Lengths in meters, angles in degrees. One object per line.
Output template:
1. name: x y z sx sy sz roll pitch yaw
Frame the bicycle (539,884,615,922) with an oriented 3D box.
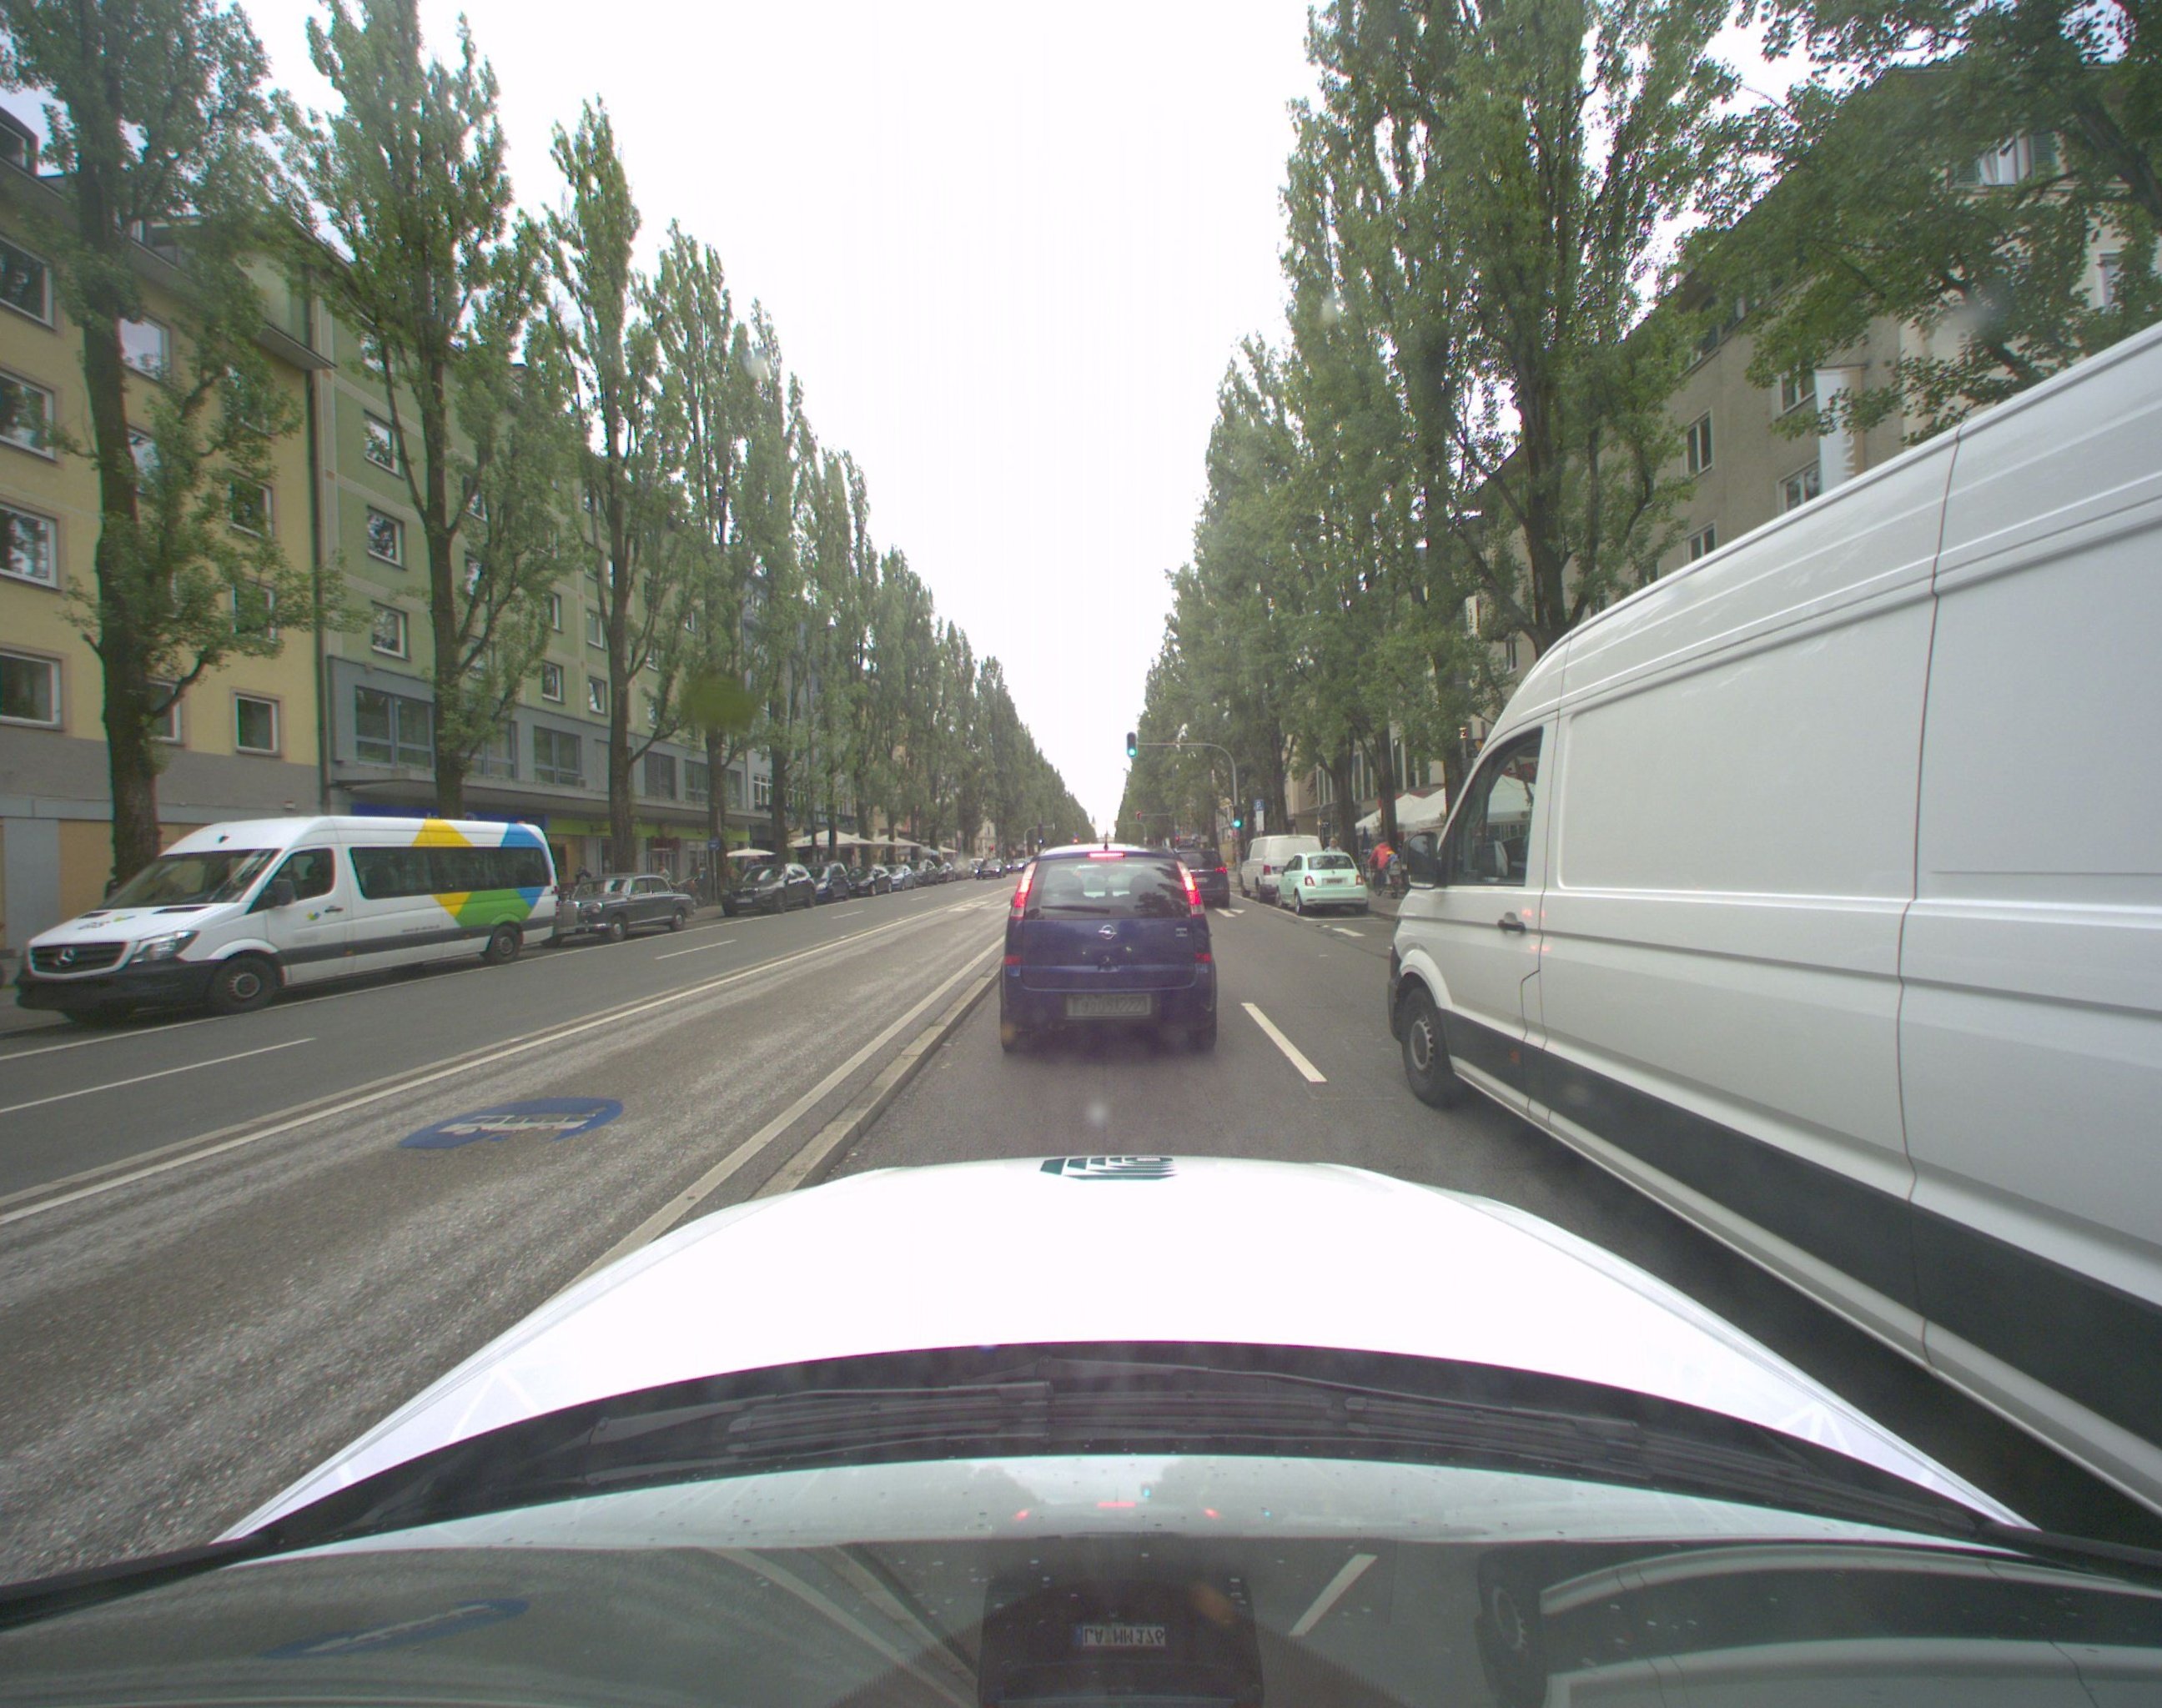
1. bicycle: -15.244 1.466 24.641 1.860 1.095 0.720 0 0 4

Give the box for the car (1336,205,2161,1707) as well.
1. car: 2.768 0.219 2.496 2.055 2.492 6.733 -1 0 2

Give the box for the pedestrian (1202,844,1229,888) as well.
1. pedestrian: 5.262 0.480 31.892 0.857 1.684 0.626 -2 0 -2

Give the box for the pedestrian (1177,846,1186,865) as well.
1. pedestrian: 9.843 0.180 79.484 0.636 1.827 0.885 0 -1 -8

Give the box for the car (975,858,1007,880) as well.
1. car: -6.805 1.084 61.797 1.691 1.462 4.715 -4 0 2

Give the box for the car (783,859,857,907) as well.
1. car: -10.610 1.118 33.413 1.704 1.721 3.920 -4 0 -1

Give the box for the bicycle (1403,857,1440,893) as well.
1. bicycle: 9.870 0.602 23.636 0.348 0.996 1.453 -3 -1 -2

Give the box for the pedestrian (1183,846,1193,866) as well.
1. pedestrian: 9.898 0.193 75.270 0.719 1.827 0.885 0 -1 -8

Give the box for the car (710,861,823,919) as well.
1. car: -10.647 1.142 27.990 1.859 1.664 4.613 -4 0 2

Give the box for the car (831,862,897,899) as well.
1. car: -10.344 1.234 39.087 1.792 1.488 4.352 -4 0 2

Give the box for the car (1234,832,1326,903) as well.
1. car: 6.031 0.369 25.233 1.781 1.946 4.732 -2 0 2

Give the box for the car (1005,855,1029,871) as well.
1. car: -6.129 0.861 78.699 1.739 1.434 4.131 -4 0 2

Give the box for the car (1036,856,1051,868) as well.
1. car: -5.633 1.181 121.925 1.859 1.665 4.122 -2 0 2

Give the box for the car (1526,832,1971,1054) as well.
1. car: 5.368 0.611 7.002 1.587 1.518 2.729 -1 0 -1

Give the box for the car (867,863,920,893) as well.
1. car: -10.103 1.256 44.235 1.727 1.425 4.145 -4 0 2

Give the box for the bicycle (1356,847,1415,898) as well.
1. bicycle: 8.592 0.496 23.125 0.769 1.349 2.450 -2 0 1

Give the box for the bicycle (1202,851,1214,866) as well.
1. bicycle: 11.773 0.417 75.641 0.769 1.349 2.450 -2 0 1

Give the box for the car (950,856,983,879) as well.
1. car: -9.347 1.079 66.711 1.859 1.665 4.122 -4 0 2

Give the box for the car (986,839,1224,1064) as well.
1. car: 0.241 0.694 7.798 1.665 1.568 4.002 -1 0 2

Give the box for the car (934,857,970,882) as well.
1. car: -9.626 1.105 61.187 1.859 1.665 4.122 -4 0 2

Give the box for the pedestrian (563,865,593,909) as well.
1. pedestrian: -20.084 1.317 32.526 0.670 1.686 0.759 -3 -1 3

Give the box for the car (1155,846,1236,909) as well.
1. car: 3.209 0.619 23.494 1.889 1.622 4.002 -1 0 2

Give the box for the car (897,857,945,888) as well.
1. car: -9.749 1.111 49.976 1.859 1.665 4.402 -4 0 2

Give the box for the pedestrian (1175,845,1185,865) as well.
1. pedestrian: 9.142 0.108 75.176 0.636 1.827 0.885 0 -1 -8

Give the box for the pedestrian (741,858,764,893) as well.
1. pedestrian: -16.341 1.081 40.500 0.753 1.686 0.675 -3 -1 2

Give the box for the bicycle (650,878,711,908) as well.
1. bicycle: -15.187 1.489 30.944 1.943 1.095 0.718 0 0 -5

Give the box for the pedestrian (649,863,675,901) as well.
1. pedestrian: -18.920 1.263 36.774 0.753 1.686 0.675 -3 -1 2

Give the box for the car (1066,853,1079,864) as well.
1. car: -1.330 0.686 125.788 1.728 1.465 3.366 -2 0 2

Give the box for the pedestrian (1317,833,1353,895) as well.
1. pedestrian: 7.559 0.297 24.301 0.823 1.773 0.872 -2 0 7

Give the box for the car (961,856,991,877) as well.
1. car: -9.248 1.060 71.973 1.859 1.665 4.122 -4 0 2

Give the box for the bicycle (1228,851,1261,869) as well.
1. bicycle: 11.936 0.456 59.386 2.220 1.204 0.626 -3 0 -1

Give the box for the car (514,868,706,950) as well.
1. car: -11.126 1.226 19.687 1.859 1.552 4.416 -4 0 2

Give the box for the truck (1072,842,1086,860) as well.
1. truck: -0.317 -0.553 155.513 2.374 3.346 7.114 -2 0 2

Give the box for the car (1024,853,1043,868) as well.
1. car: -5.511 0.723 95.446 1.764 1.635 4.456 -3 0 1

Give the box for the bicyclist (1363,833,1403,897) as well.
1. bicyclist: 8.579 0.305 23.155 0.764 1.766 0.885 -2 0 1

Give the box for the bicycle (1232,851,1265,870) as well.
1. bicycle: 11.917 0.451 57.948 2.220 1.204 0.626 -3 0 -1

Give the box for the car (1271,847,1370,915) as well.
1. car: 5.828 0.615 20.196 1.535 1.492 3.525 -1 0 2

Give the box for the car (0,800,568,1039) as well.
1. car: -11.283 0.732 12.588 1.998 2.567 6.915 -4 0 2

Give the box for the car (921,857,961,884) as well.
1. car: -9.645 1.105 56.301 1.859 1.665 4.122 -4 0 2

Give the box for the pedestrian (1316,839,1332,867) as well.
1. pedestrian: 14.814 -0.066 49.642 0.671 1.686 0.758 -3 -1 -3

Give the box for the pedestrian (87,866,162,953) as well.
1. pedestrian: -20.535 1.182 17.504 0.694 1.795 0.728 -2 0 6
